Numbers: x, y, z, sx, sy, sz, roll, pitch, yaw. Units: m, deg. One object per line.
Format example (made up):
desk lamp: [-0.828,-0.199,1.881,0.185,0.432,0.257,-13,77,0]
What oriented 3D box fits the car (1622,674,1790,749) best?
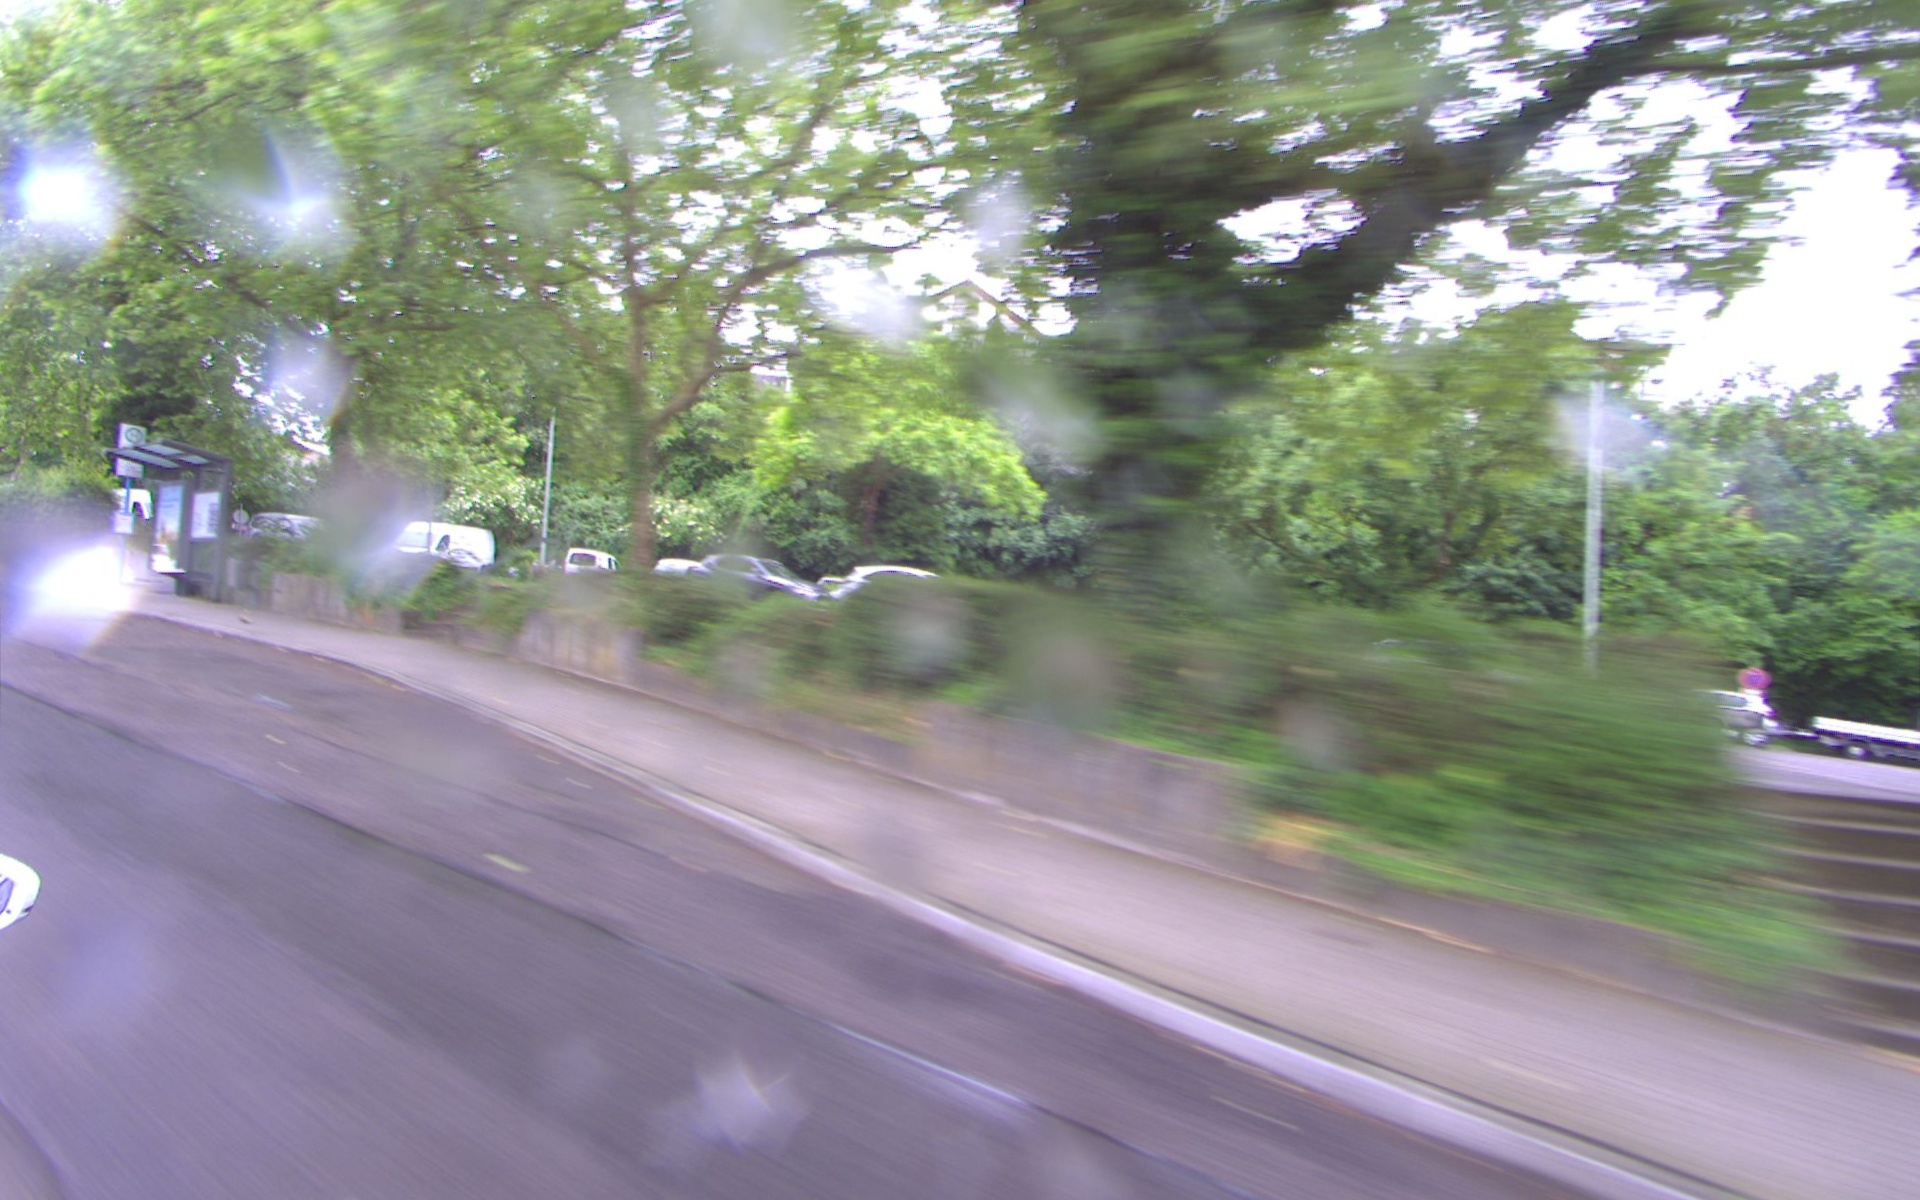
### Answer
car: [21.381,3.202,29.016,3.567,1.540,1.707,7,-3,30]

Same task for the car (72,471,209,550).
car: [-31.739,-3.470,38.953,4.929,2.310,2.051,7,-2,26]

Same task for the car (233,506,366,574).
car: [-21.821,-1.973,33.213,4.100,1.600,1.826,7,-3,29]

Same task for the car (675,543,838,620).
car: [-5.687,-0.521,27.995,4.101,1.469,1.900,7,-3,31]

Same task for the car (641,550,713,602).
car: [-12.822,-1.048,45.834,1.770,1.789,4.185,9,-3,2]

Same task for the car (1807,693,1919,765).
car: [34.557,4.867,36.331,5.634,2.036,1.998,7,-3,32]

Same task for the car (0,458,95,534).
car: [-33.745,-3.815,36.580,4.062,2.252,1.999,7,-1,29]

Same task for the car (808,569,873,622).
car: [-5.239,-0.157,44.643,1.770,1.789,4.186,9,-3,5]

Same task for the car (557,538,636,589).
car: [-16.579,-1.633,46.127,1.770,1.683,4.185,9,-3,2]

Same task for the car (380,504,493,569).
car: [-23.586,-2.781,45.599,1.962,2.035,5.211,9,-3,2]

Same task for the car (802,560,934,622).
car: [-2.946,-0.294,32.256,3.713,1.349,1.744,8,-3,25]

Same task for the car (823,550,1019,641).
car: [-0.934,-0.110,23.705,4.100,1.469,1.901,7,-3,29]
